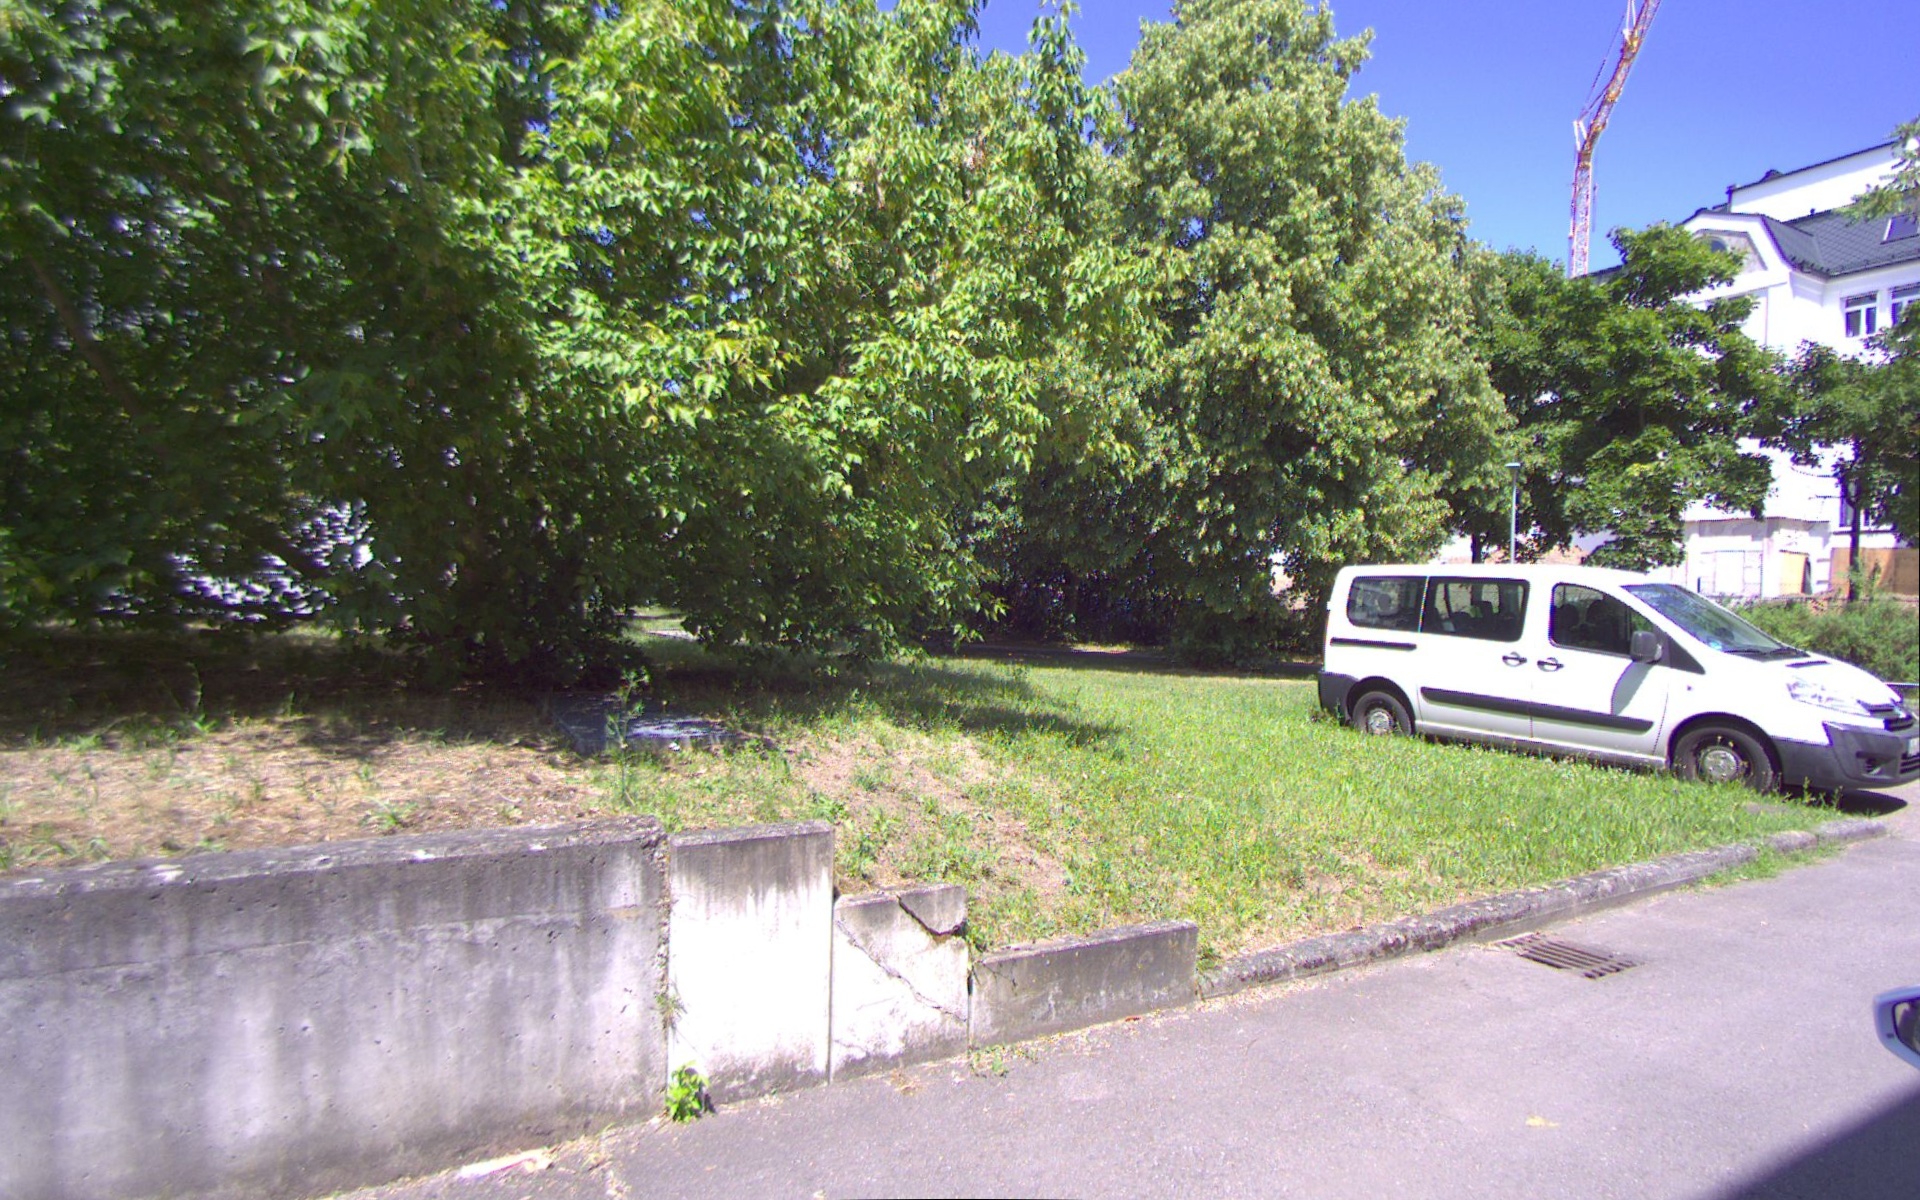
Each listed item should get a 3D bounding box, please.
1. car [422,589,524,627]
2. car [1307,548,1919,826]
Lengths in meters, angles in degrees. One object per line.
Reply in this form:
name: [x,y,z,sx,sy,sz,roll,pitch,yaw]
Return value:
car: [-22.907,0.375,47.267,4.125,1.639,1.959,2,0,-32]
car: [5.924,0.594,9.534,1.979,1.937,4.759,0,0,-34]
